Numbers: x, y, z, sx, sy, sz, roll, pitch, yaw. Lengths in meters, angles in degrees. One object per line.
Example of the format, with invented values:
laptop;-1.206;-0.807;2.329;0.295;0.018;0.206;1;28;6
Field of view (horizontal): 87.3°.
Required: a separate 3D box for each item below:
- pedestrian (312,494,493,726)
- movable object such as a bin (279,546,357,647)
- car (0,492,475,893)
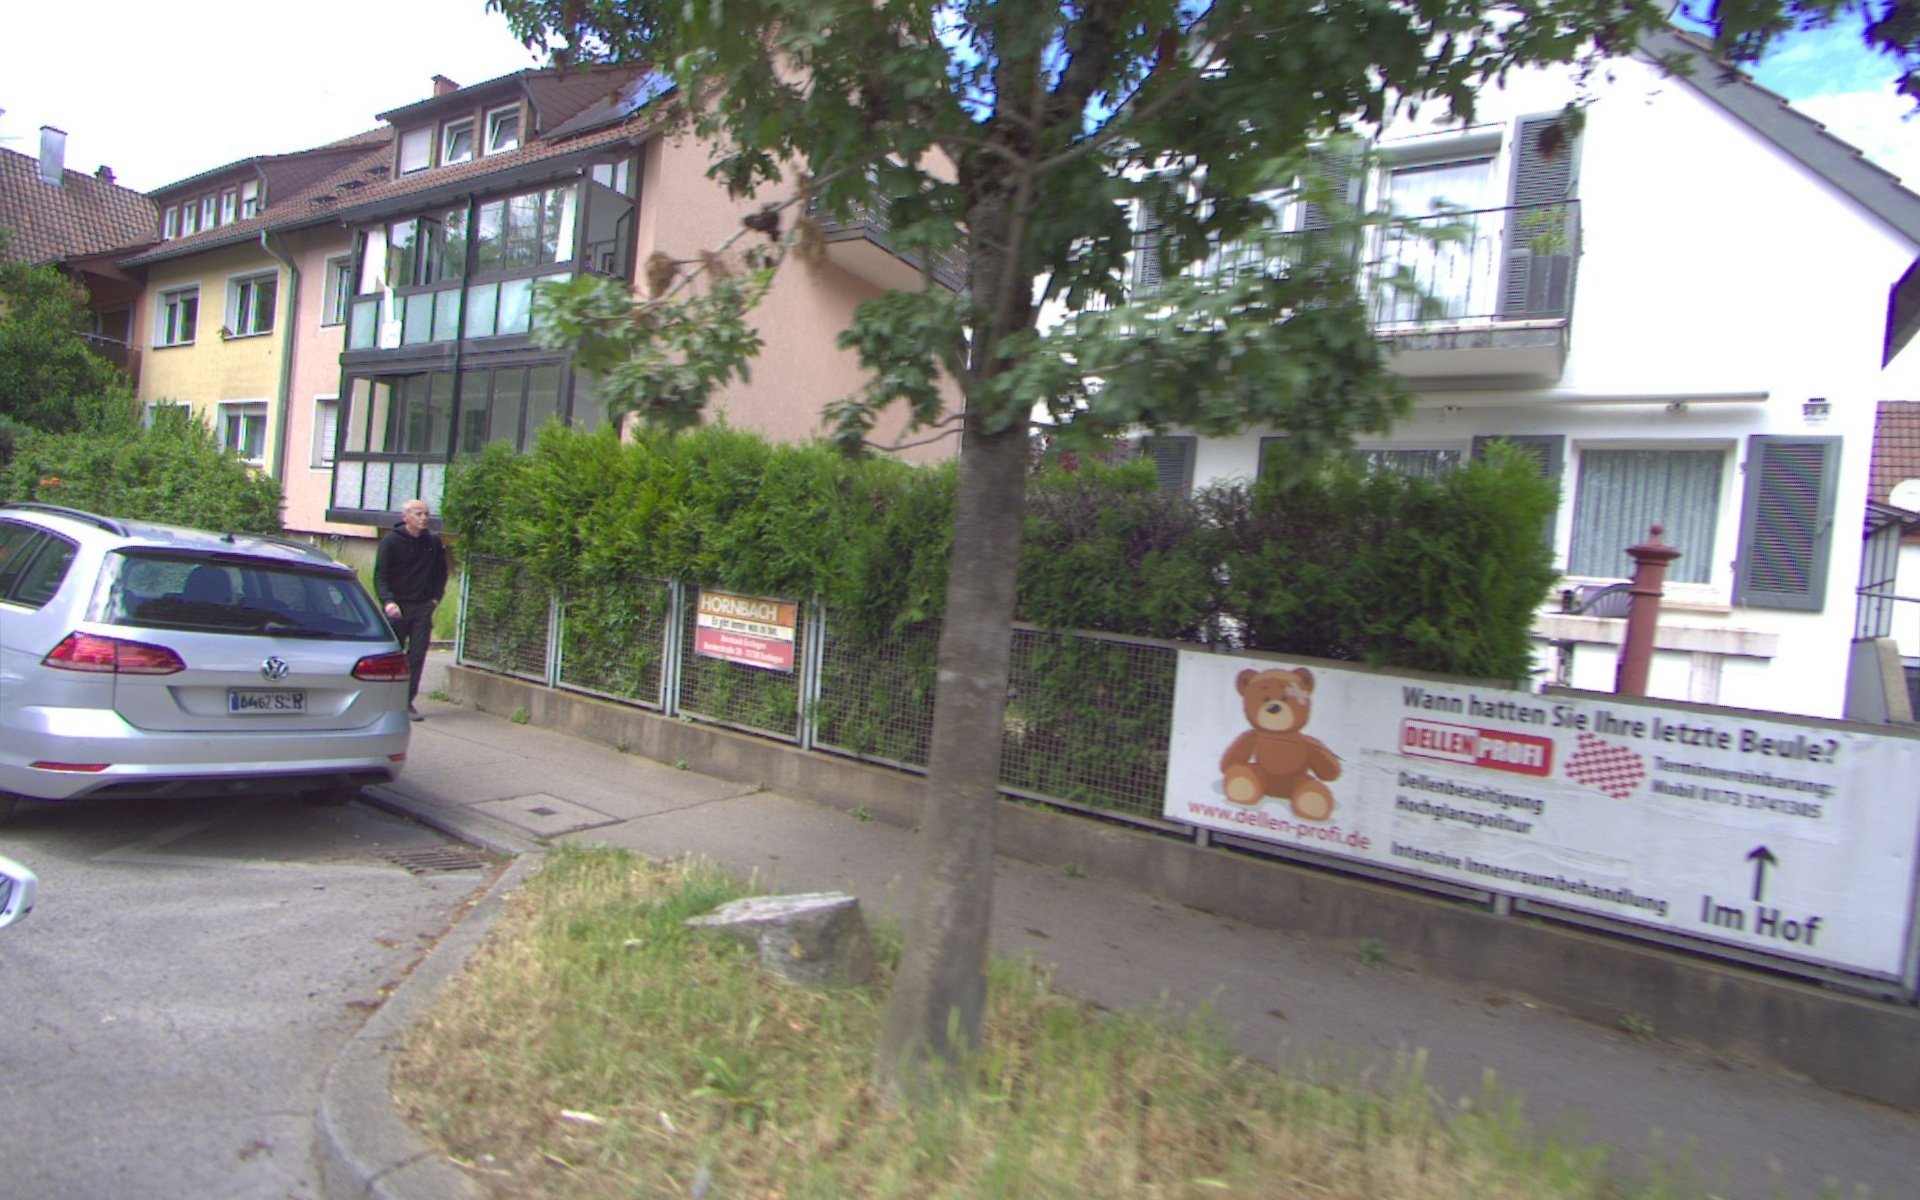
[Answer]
pedestrian;-4.526;0.084;8.187;0.829;1.734;0.881;6;1;34
movable object such as a bin;-7.451;-0.042;11.673;0.595;1.094;0.523;6;1;38
car;-5.064;0.199;5.833;4.792;1.498;1.703;7;-1;33
